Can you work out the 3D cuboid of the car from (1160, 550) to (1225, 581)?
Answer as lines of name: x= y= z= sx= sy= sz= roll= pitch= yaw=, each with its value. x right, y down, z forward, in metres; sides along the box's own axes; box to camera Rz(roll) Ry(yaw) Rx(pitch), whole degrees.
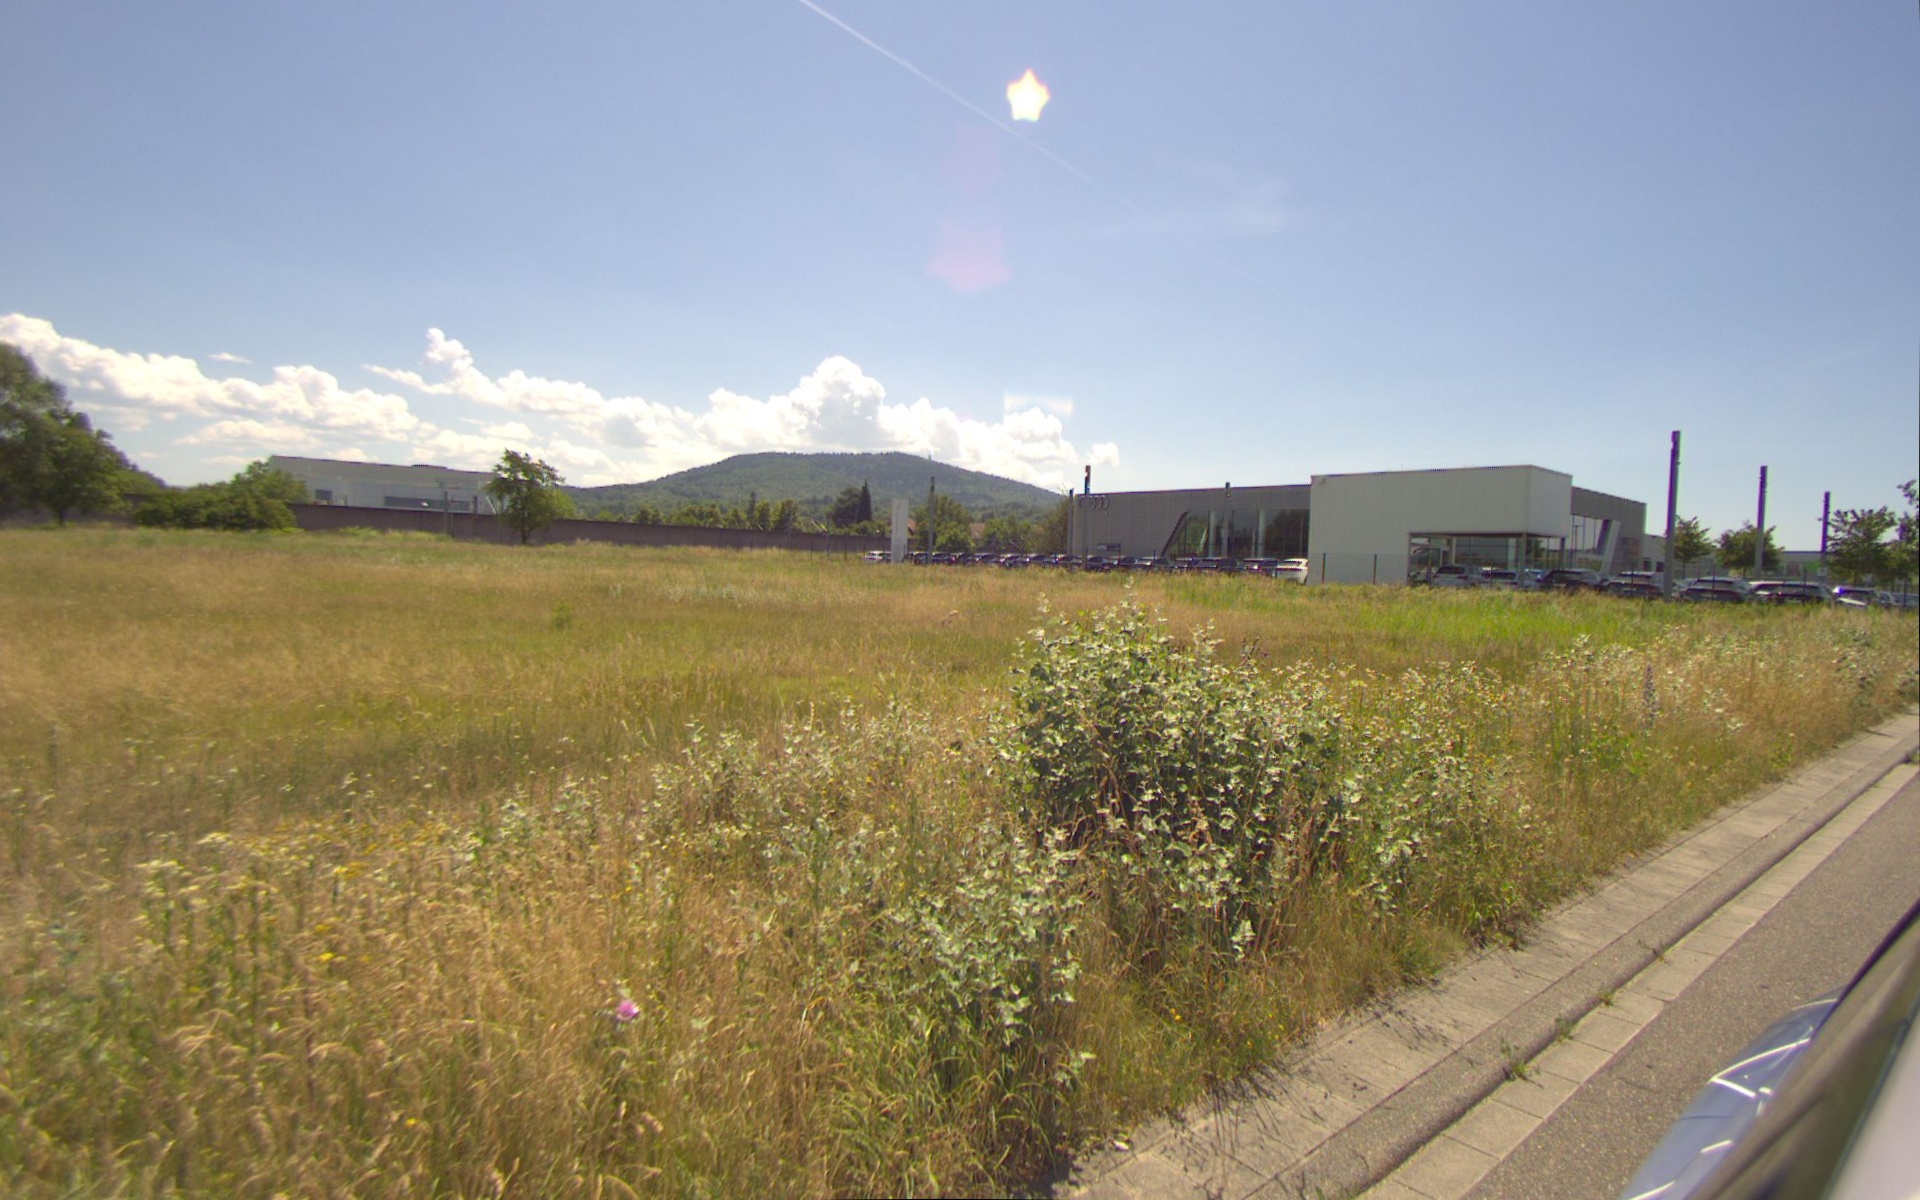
car: x=14.438 y=-2.147 z=62.753 sx=3.930 sy=1.807 sz=1.998 roll=0 pitch=3 yaw=-41

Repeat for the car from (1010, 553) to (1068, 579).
car: x=5.755 y=-2.466 z=73.451 sx=3.930 sy=1.807 sz=1.998 roll=0 pitch=3 yaw=-41

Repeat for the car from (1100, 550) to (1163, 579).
car: x=11.312 y=-2.312 z=66.640 sx=3.930 sy=1.807 sz=1.998 roll=0 pitch=3 yaw=-41

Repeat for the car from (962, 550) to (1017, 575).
car: x=2.280 y=-2.898 z=77.778 sx=3.930 sy=1.807 sz=1.998 roll=0 pitch=3 yaw=-41

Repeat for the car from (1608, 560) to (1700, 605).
car: x=30.328 y=-0.749 z=44.178 sx=4.722 sy=1.746 sz=2.030 roll=0 pitch=4 yaw=-40

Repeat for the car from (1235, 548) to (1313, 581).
car: x=18.287 y=-2.049 z=58.904 sx=4.722 sy=1.746 sz=2.030 roll=0 pitch=4 yaw=-40

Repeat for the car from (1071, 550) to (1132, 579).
car: x=9.603 y=-2.387 z=68.627 sx=3.930 sy=1.807 sz=1.998 roll=0 pitch=3 yaw=-41

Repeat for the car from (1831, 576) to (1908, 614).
car: x=42.549 y=-0.250 z=47.305 sx=4.695 sy=1.592 sz=2.030 roll=0 pitch=4 yaw=-41

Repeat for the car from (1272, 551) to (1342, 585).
car: x=19.442 y=-1.778 z=56.659 sx=3.930 sy=1.807 sz=1.998 roll=0 pitch=3 yaw=-41

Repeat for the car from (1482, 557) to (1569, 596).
car: x=27.097 y=-1.121 z=48.436 sx=4.722 sy=1.674 sz=2.030 roll=0 pitch=4 yaw=-40

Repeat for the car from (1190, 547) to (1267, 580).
car: x=16.193 y=-2.170 z=60.884 sx=4.722 sy=1.746 sz=2.030 roll=0 pitch=4 yaw=-40

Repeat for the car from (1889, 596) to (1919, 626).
car: x=55.220 y=0.645 z=58.260 sx=4.900 sy=1.474 sz=1.966 roll=-2 pitch=5 yaw=-41

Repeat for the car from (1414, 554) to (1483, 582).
car: x=29.465 y=-1.915 z=60.965 sx=4.695 sy=1.609 sz=2.029 roll=0 pitch=2 yaw=-41

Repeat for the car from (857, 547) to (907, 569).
car: x=-6.783 y=-3.643 z=88.214 sx=3.930 sy=1.807 sz=1.998 roll=0 pitch=3 yaw=-41

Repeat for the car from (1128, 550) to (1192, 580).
car: x=12.824 y=-2.222 z=64.791 sx=3.930 sy=1.807 sz=1.998 roll=0 pitch=3 yaw=-41

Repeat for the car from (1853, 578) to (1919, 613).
car: x=46.588 y=-0.215 z=50.667 sx=5.147 sy=1.532 sz=2.030 roll=0 pitch=5 yaw=-41

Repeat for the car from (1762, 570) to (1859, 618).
car: x=33.872 y=-0.238 z=40.259 sx=5.016 sy=1.713 sz=2.030 roll=0 pitch=4 yaw=-40

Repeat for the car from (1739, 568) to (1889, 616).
car: x=36.466 y=-0.383 z=43.304 sx=1.995 sy=1.713 sz=4.541 roll=0 pitch=4 yaw=-39

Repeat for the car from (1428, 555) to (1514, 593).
car: x=25.452 y=-1.268 z=50.372 sx=4.722 sy=1.674 sz=2.030 roll=0 pitch=4 yaw=-40

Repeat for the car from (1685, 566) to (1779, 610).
car: x=32.130 y=-0.484 z=42.089 sx=4.722 sy=1.630 sz=2.030 roll=0 pitch=4 yaw=-40

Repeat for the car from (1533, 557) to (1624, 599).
car: x=28.395 y=-0.991 z=46.416 sx=4.722 sy=1.700 sz=2.030 roll=0 pitch=4 yaw=-40
